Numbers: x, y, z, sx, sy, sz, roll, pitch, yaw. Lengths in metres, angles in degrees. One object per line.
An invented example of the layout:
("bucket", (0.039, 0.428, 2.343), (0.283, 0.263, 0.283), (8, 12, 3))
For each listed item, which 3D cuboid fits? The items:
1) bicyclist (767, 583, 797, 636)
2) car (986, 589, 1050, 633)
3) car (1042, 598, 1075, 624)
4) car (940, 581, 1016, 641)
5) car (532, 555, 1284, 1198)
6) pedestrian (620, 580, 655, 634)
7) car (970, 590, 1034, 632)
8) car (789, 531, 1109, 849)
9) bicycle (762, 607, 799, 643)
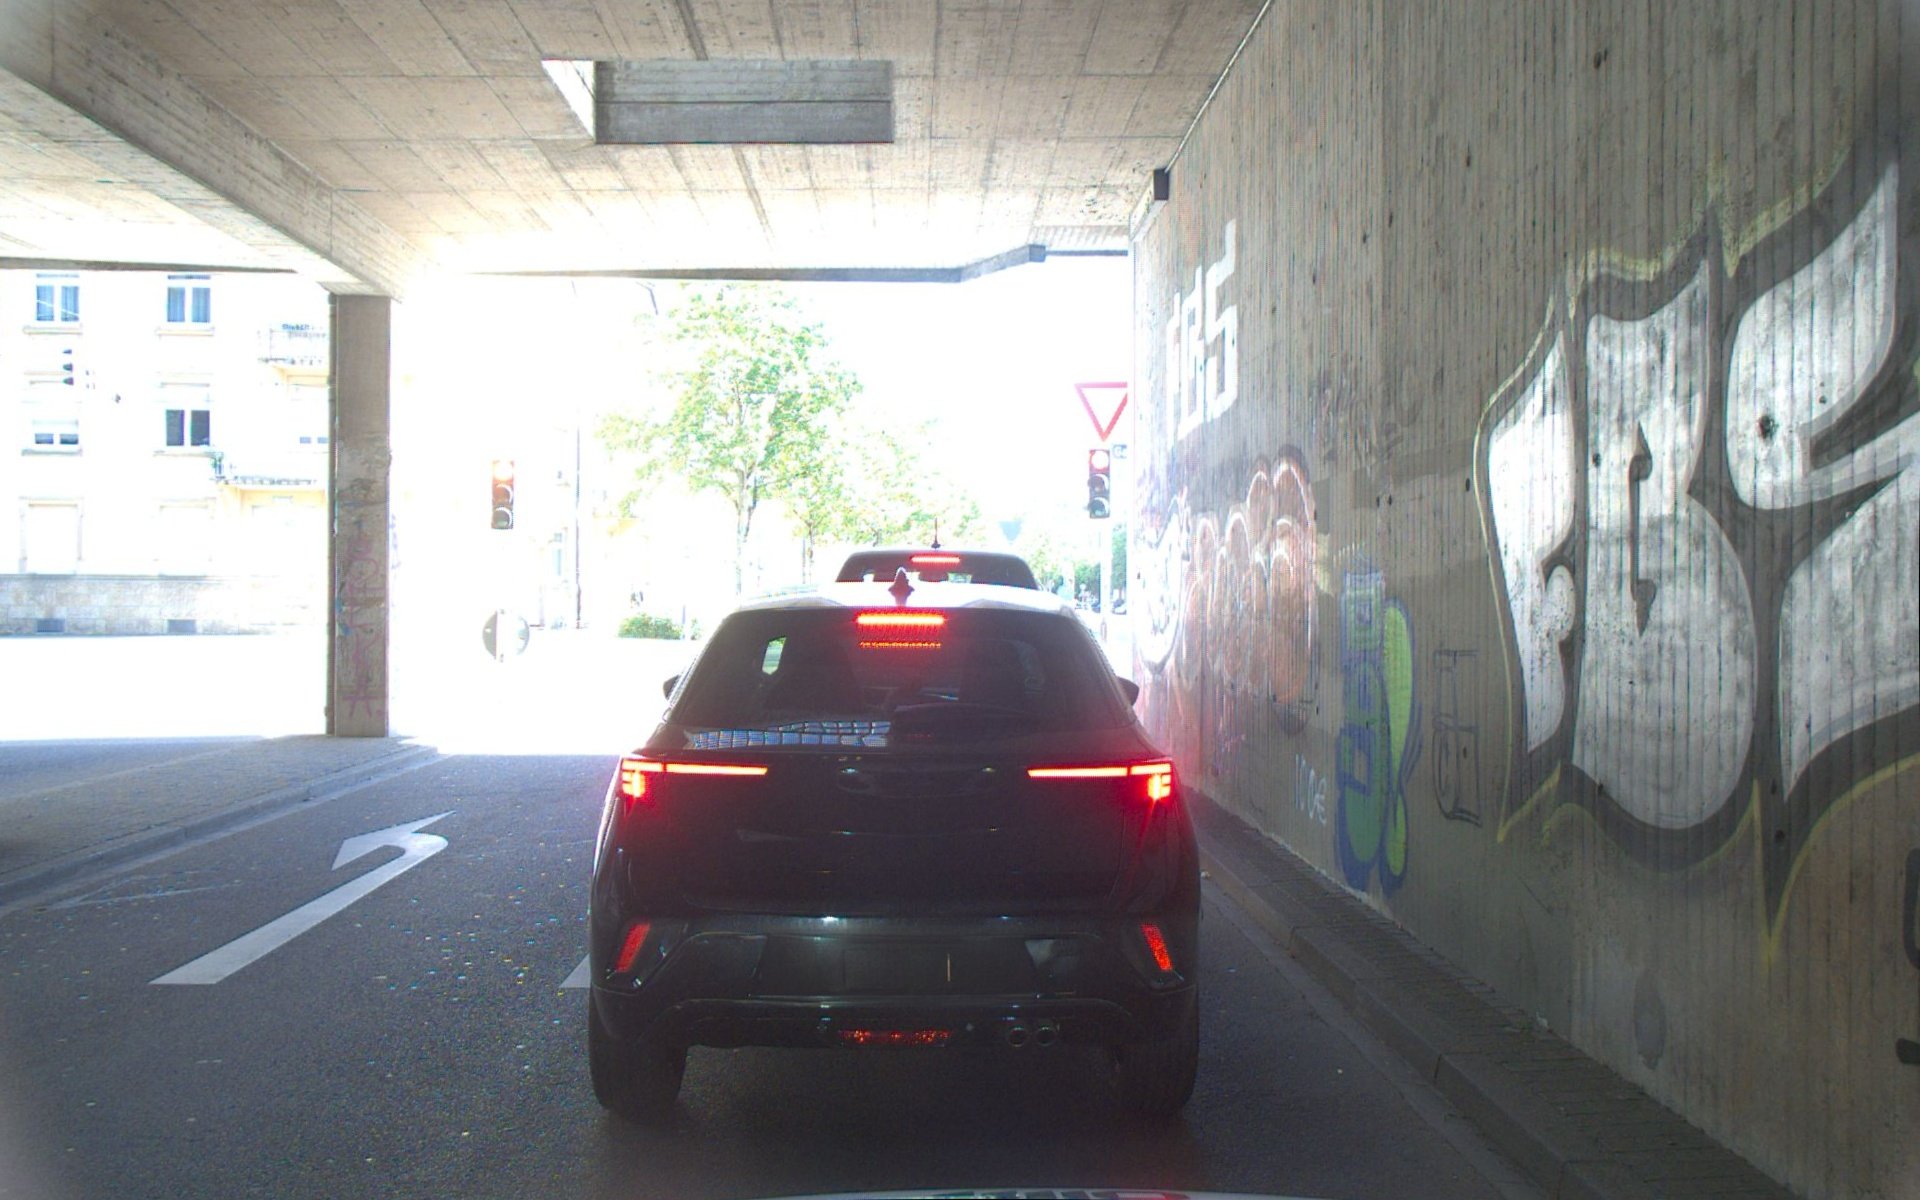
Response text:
("bicyclist", (-5.542, 0.299, 51.449), (0.713, 1.609, 0.815), (1, -1, 9))
("car", (2.461, 0.481, 69.033), (2.173, 1.749, 4.463), (0, -1, 9))
("car", (6.693, 0.772, 111.988), (1.951, 1.691, 4.003), (1, 0, 8))
("car", (0.494, 0.332, 44.174), (1.927, 1.523, 3.896), (0, -1, 1))
("car", (-0.152, 0.666, 6.055), (1.844, 1.565, 3.963), (0, 0, -1))
("pedestrian", (-12.171, 0.263, 62.465), (0.971, 2.049, 1.089), (0, 0, 7))
("car", (1.617, 0.438, 62.211), (1.926, 1.523, 3.899), (0, -1, 8))
("car", (-0.094, 0.527, 11.879), (1.906, 1.892, 3.963), (0, 0, -1))
("bicycle", (-5.561, 0.764, 51.416), (0.716, 1.086, 1.690), (1, 0, 9))
